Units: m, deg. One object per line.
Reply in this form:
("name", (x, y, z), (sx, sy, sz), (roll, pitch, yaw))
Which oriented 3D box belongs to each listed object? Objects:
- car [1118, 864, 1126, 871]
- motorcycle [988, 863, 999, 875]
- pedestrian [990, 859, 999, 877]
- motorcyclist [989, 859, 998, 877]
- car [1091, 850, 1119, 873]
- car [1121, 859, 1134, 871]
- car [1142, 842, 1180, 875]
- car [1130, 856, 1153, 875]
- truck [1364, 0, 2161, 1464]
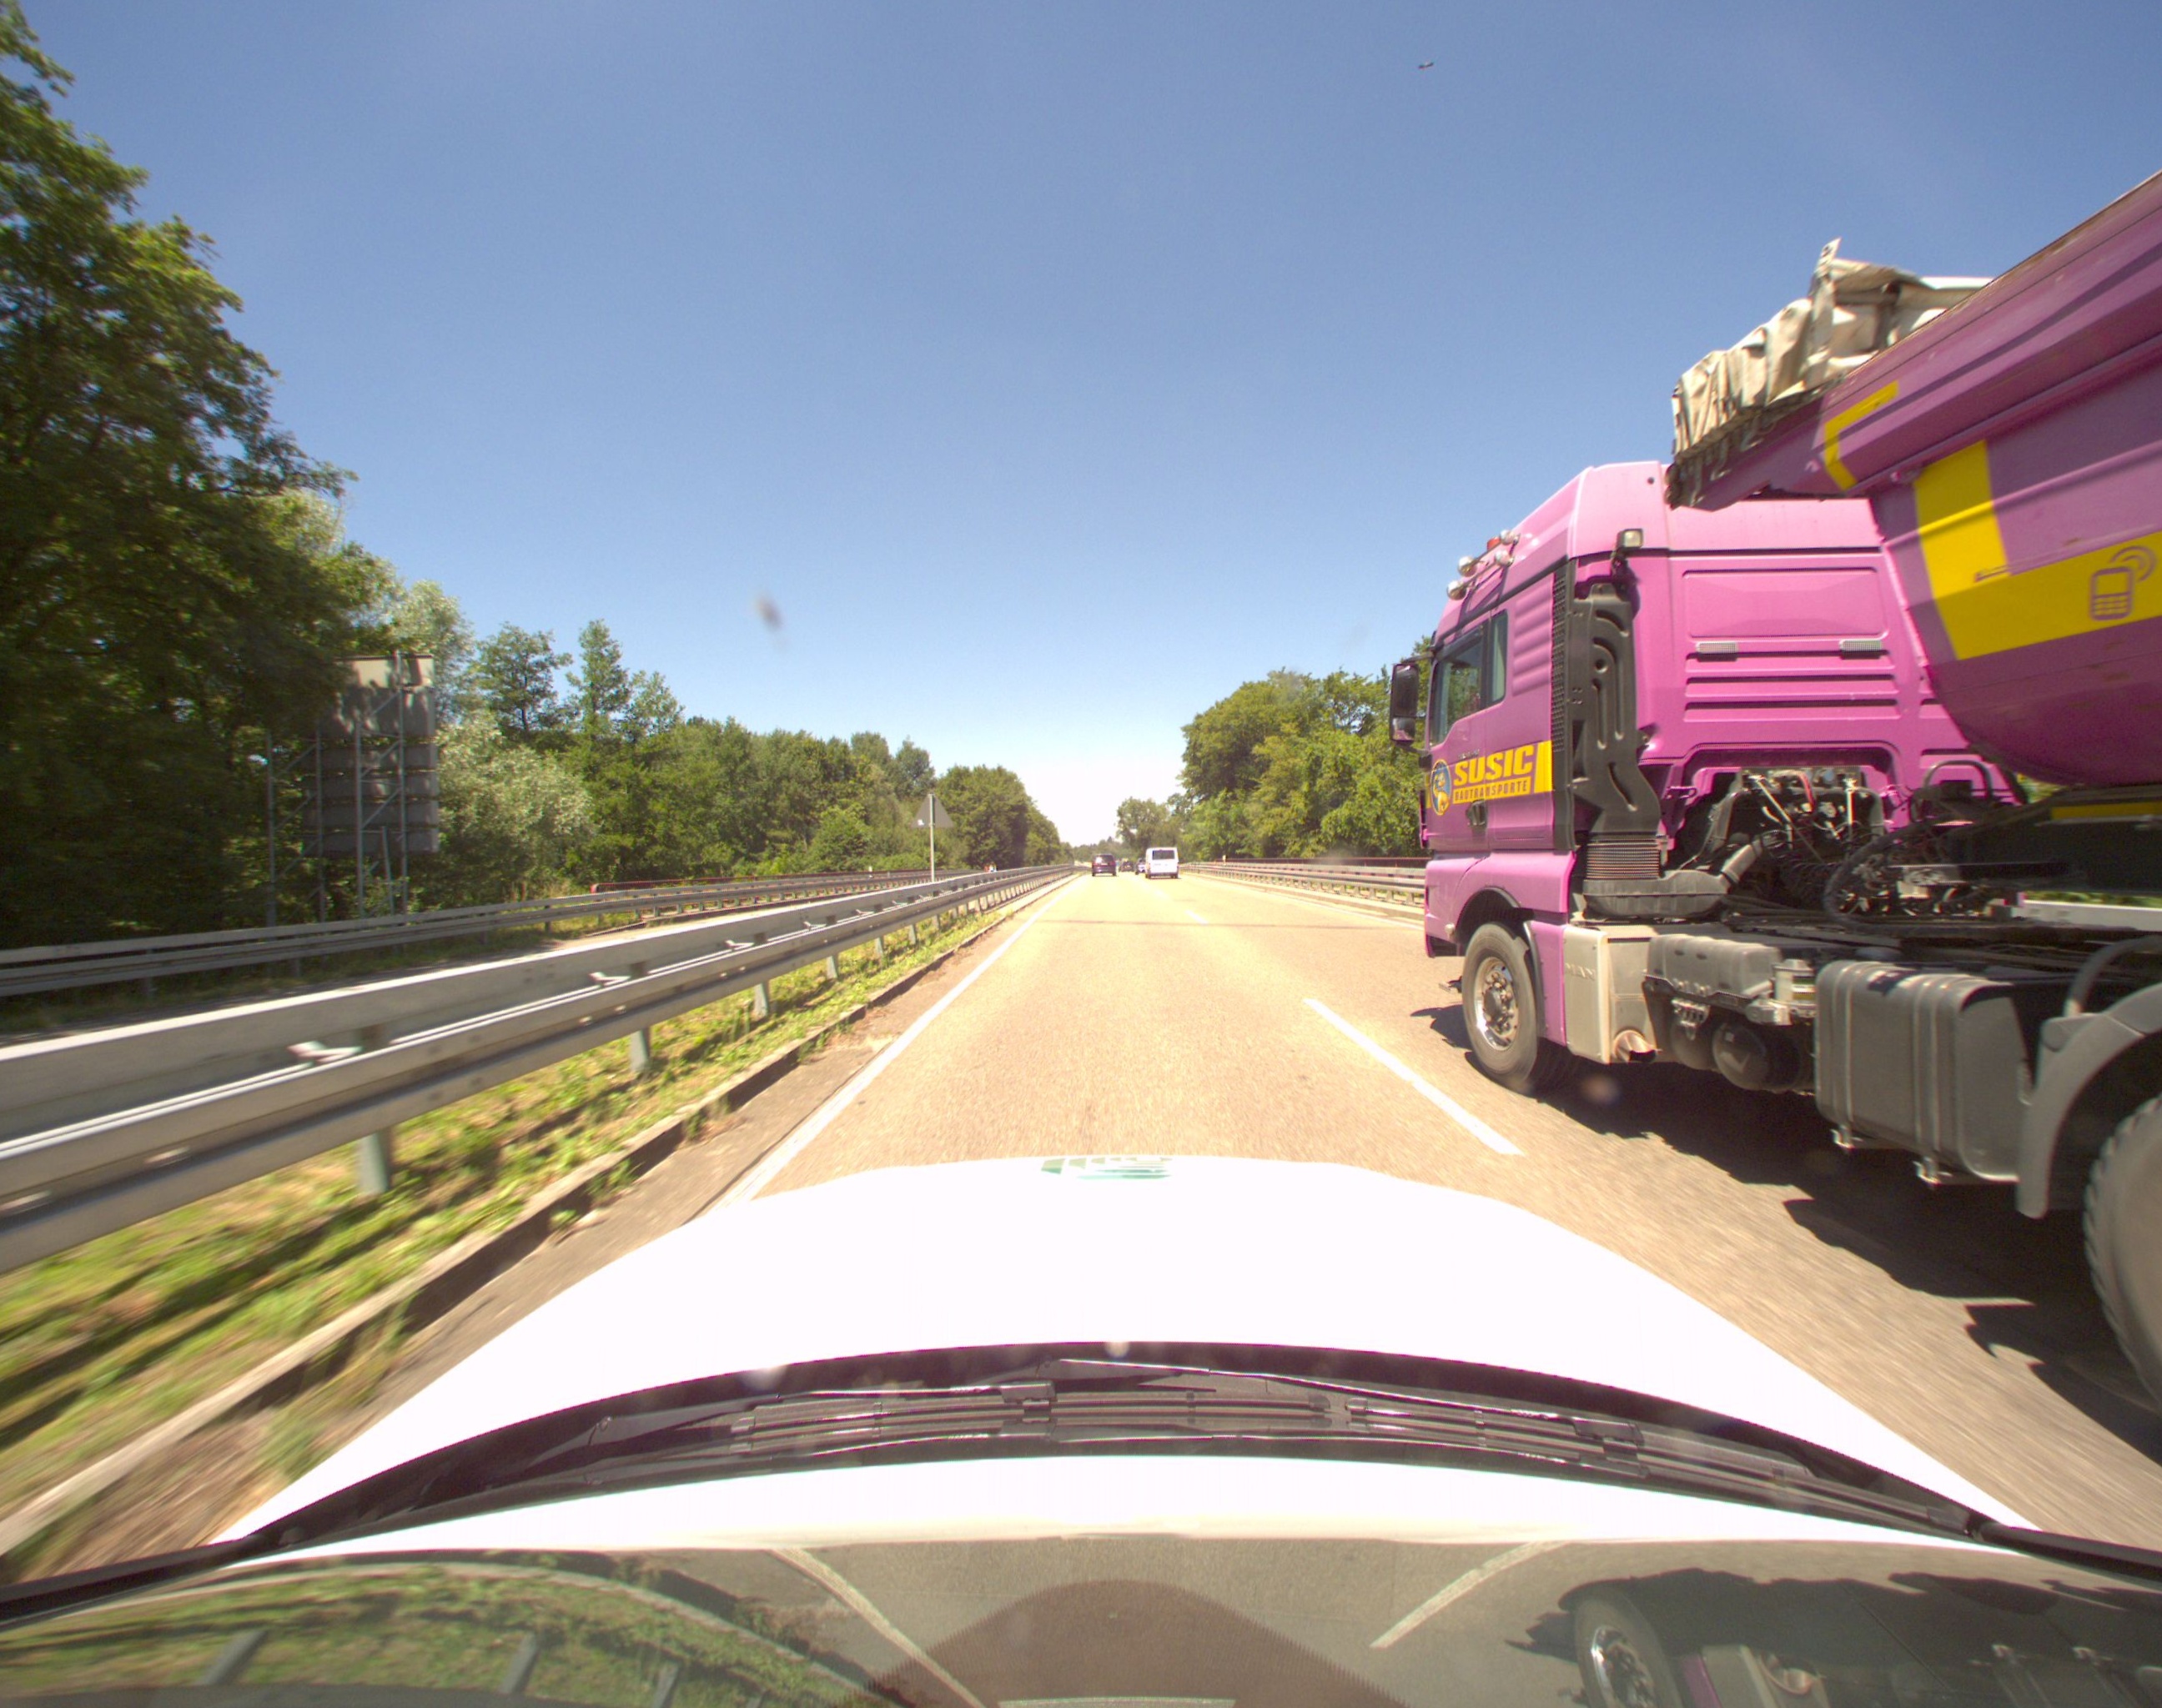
("car", (9.728, 3.256, 193.834), (1.813, 1.414, 4.000), (-4, -1, 1))
("motorcycle", (-7.845, 1.347, 73.370), (0.612, 1.104, 2.314), (-2, 0, 2))
("pedestrian", (-7.818, 1.276, 73.618), (0.612, 1.540, 0.494), (-2, -1, 2))
("motorcyclist", (-7.842, 1.271, 72.964), (0.612, 1.540, 0.777), (-2, -1, 2))
("car", (1.881, 0.579, 64.240), (1.987, 1.654, 3.999), (-2, 0, 0))
("car", (7.250, 1.727, 126.981), (1.773, 1.817, 4.214), (-3, -1, 1))
("car", (5.216, 0.328, 53.555), (1.999, 1.989, 5.033), (-2, -2, 0))
("car", (5.508, 1.046, 74.431), (1.779, 1.553, 4.019), (-2, -1, 0))
("truck", (3.803, -0.466, 4.312), (2.589, 3.691, 5.940), (-1, 0, 1))
